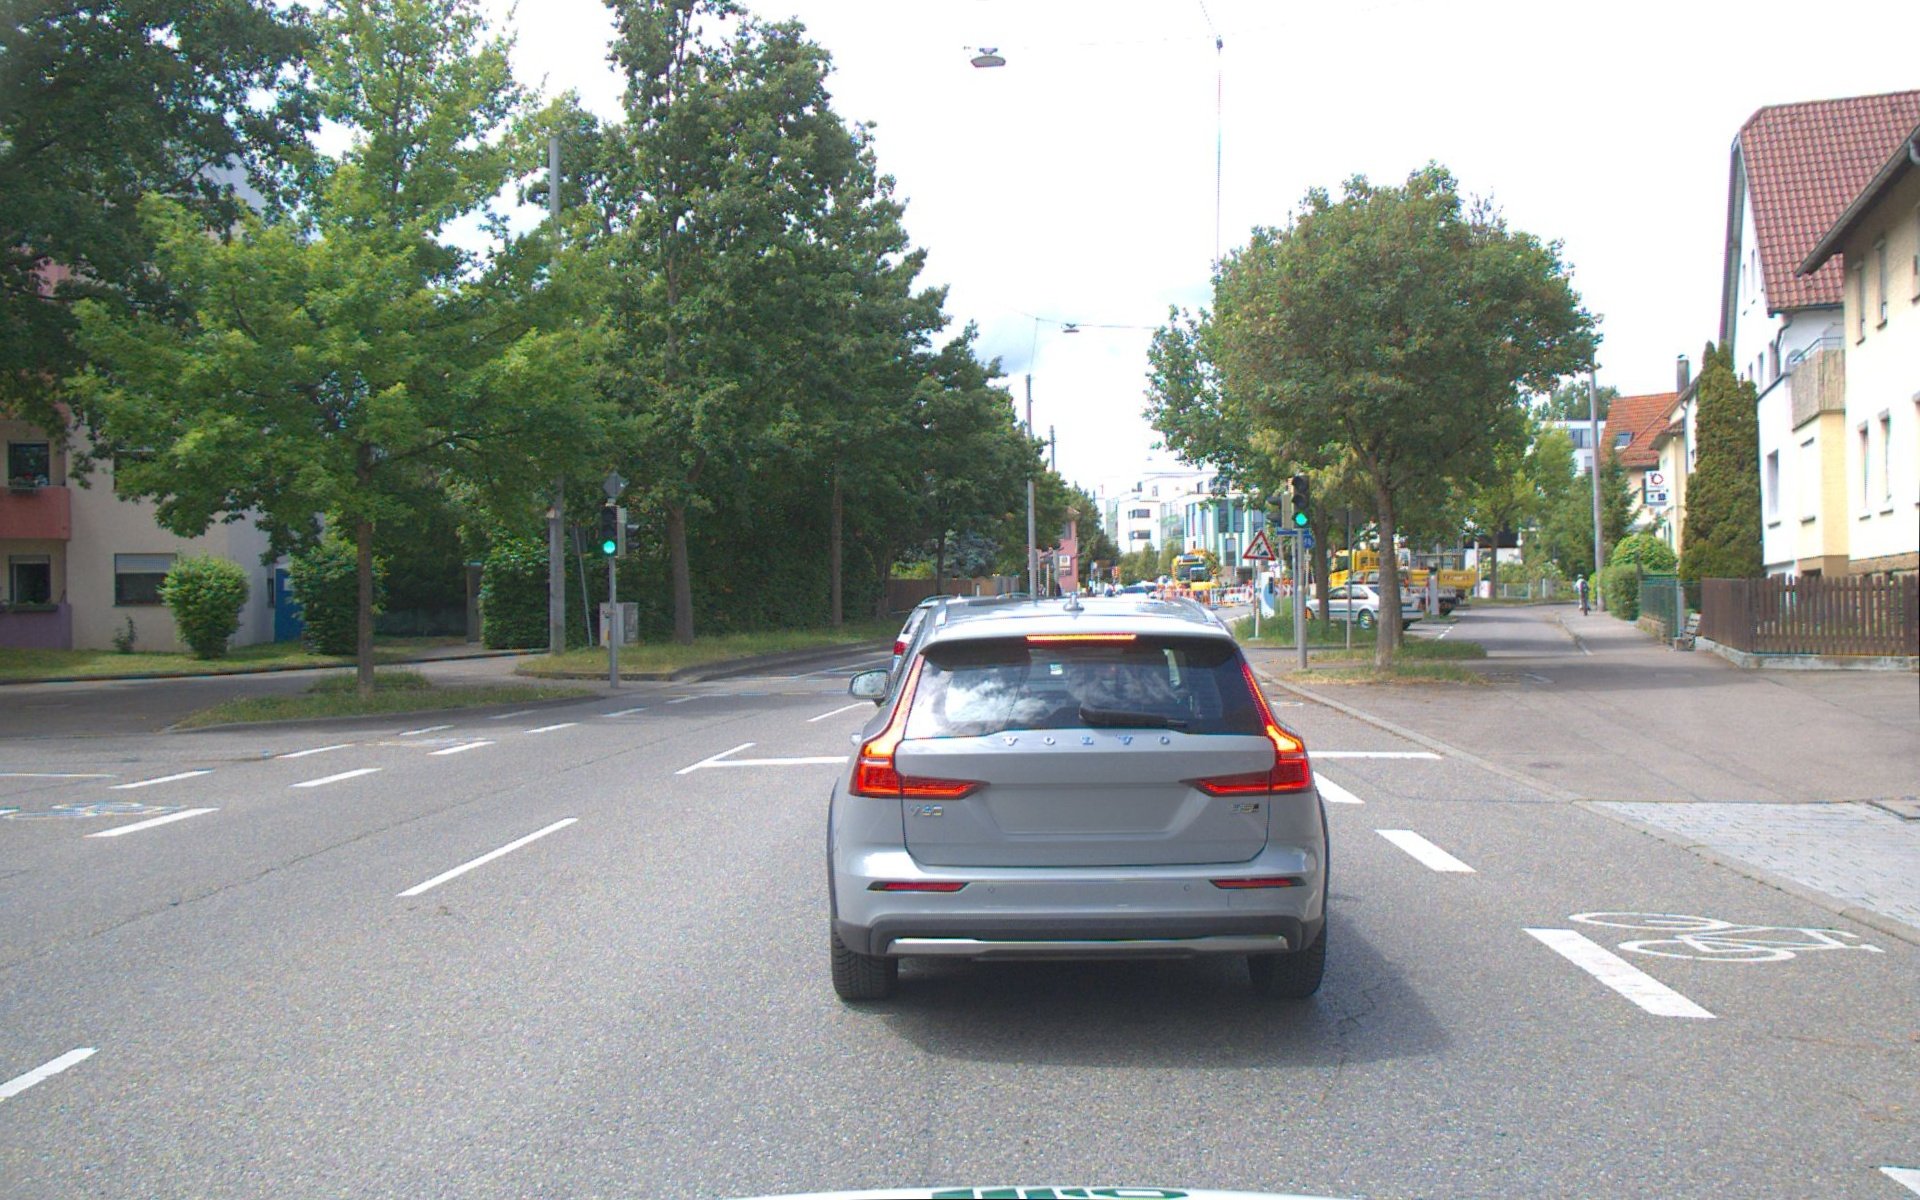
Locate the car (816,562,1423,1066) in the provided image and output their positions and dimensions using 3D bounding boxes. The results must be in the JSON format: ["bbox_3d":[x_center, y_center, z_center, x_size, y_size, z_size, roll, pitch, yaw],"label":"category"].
[{"bbox_3d":[0.530,0.669,7.164,1.888,1.567,4.000,0,0,1],"label":"car"}]
